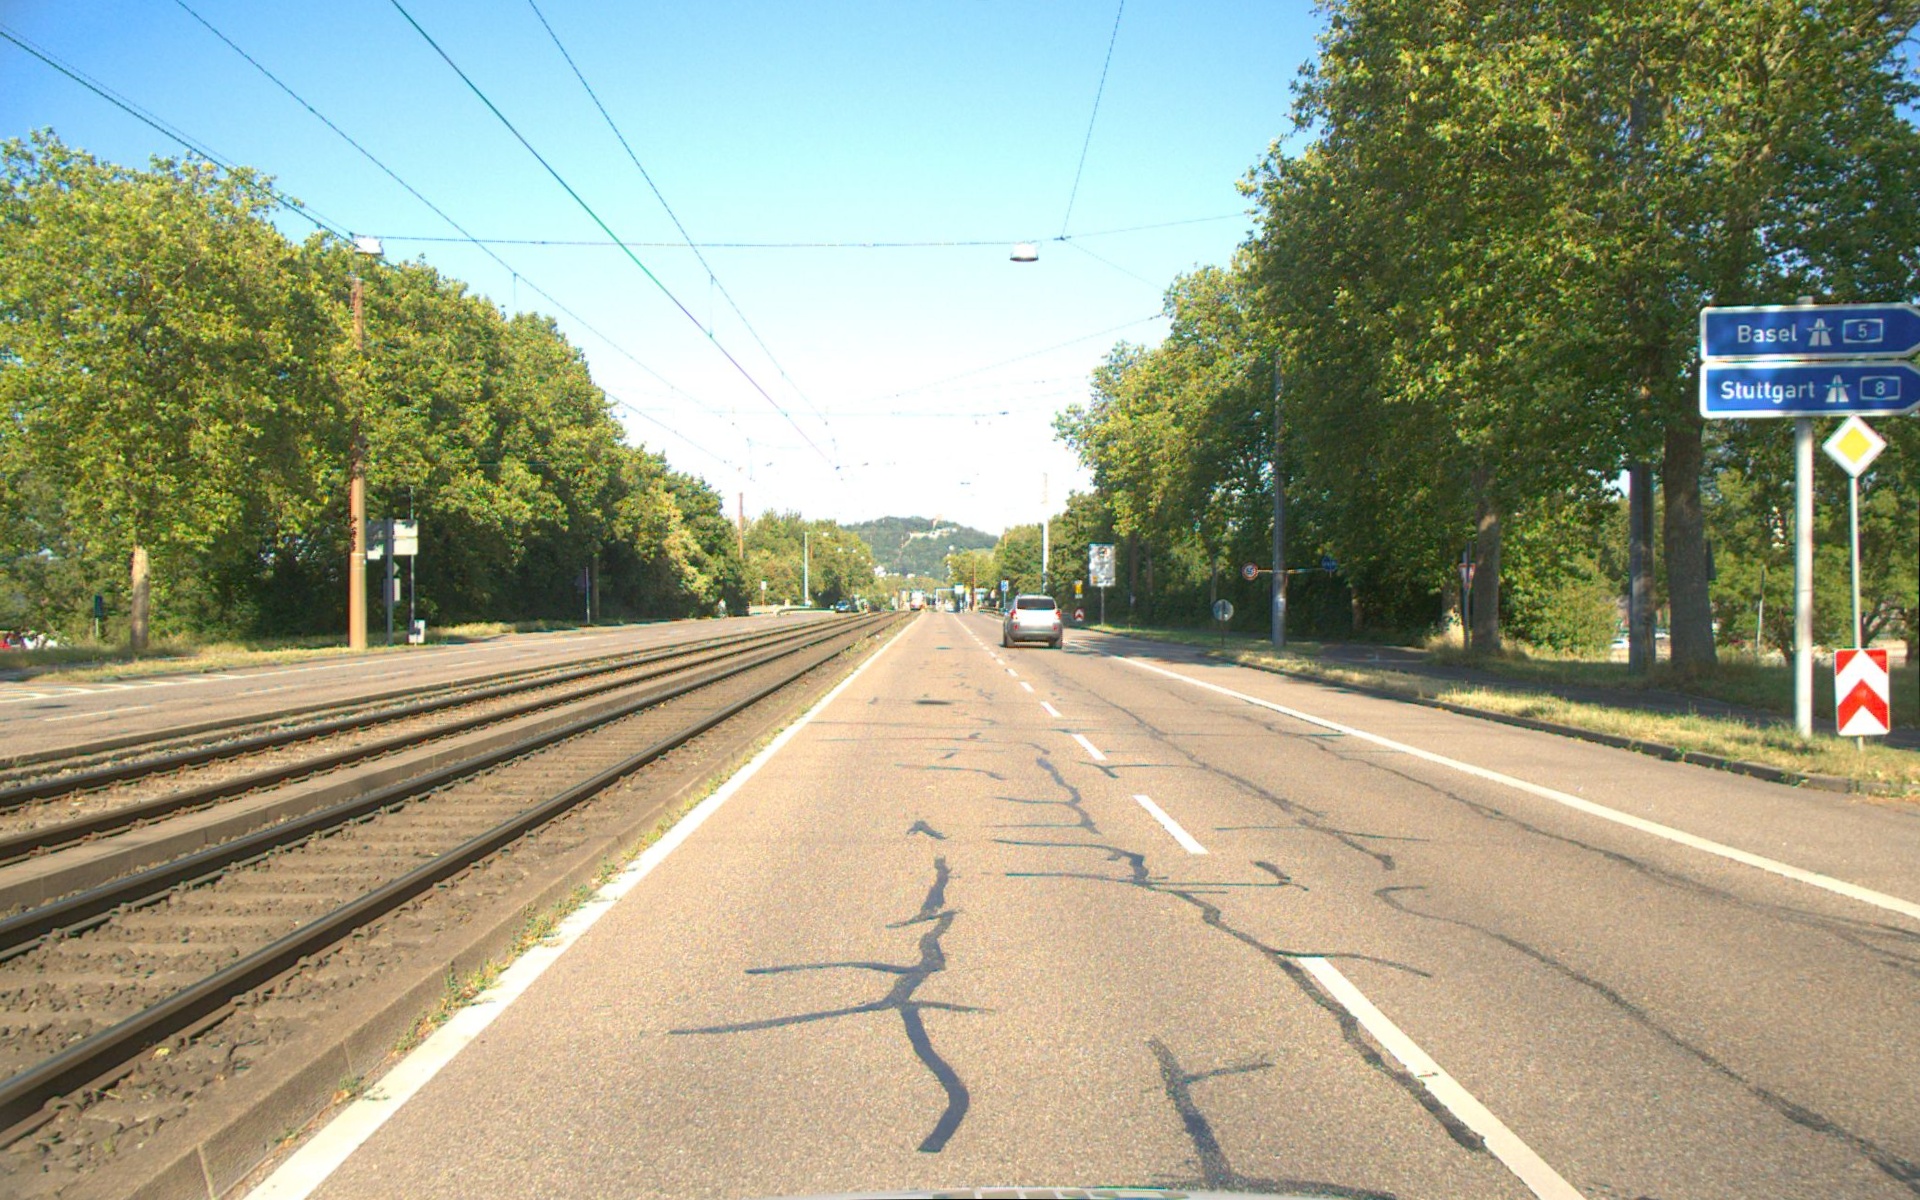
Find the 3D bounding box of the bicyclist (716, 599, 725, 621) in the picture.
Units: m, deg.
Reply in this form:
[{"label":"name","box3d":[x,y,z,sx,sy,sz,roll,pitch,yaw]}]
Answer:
[{"label":"bicyclist","box3d":[-20.176,0.846,139.397,0.539,1.720,0.820,2,-5,3]}]

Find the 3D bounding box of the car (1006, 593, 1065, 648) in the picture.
[{"label":"car","box3d":[2.468,0.675,54.874,1.849,1.723,4.257,1,0,1]}]

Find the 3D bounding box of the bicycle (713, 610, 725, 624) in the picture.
[{"label":"bicycle","box3d":[-20.260,1.401,139.150,0.539,1.003,2.239,1,-5,4]}]
